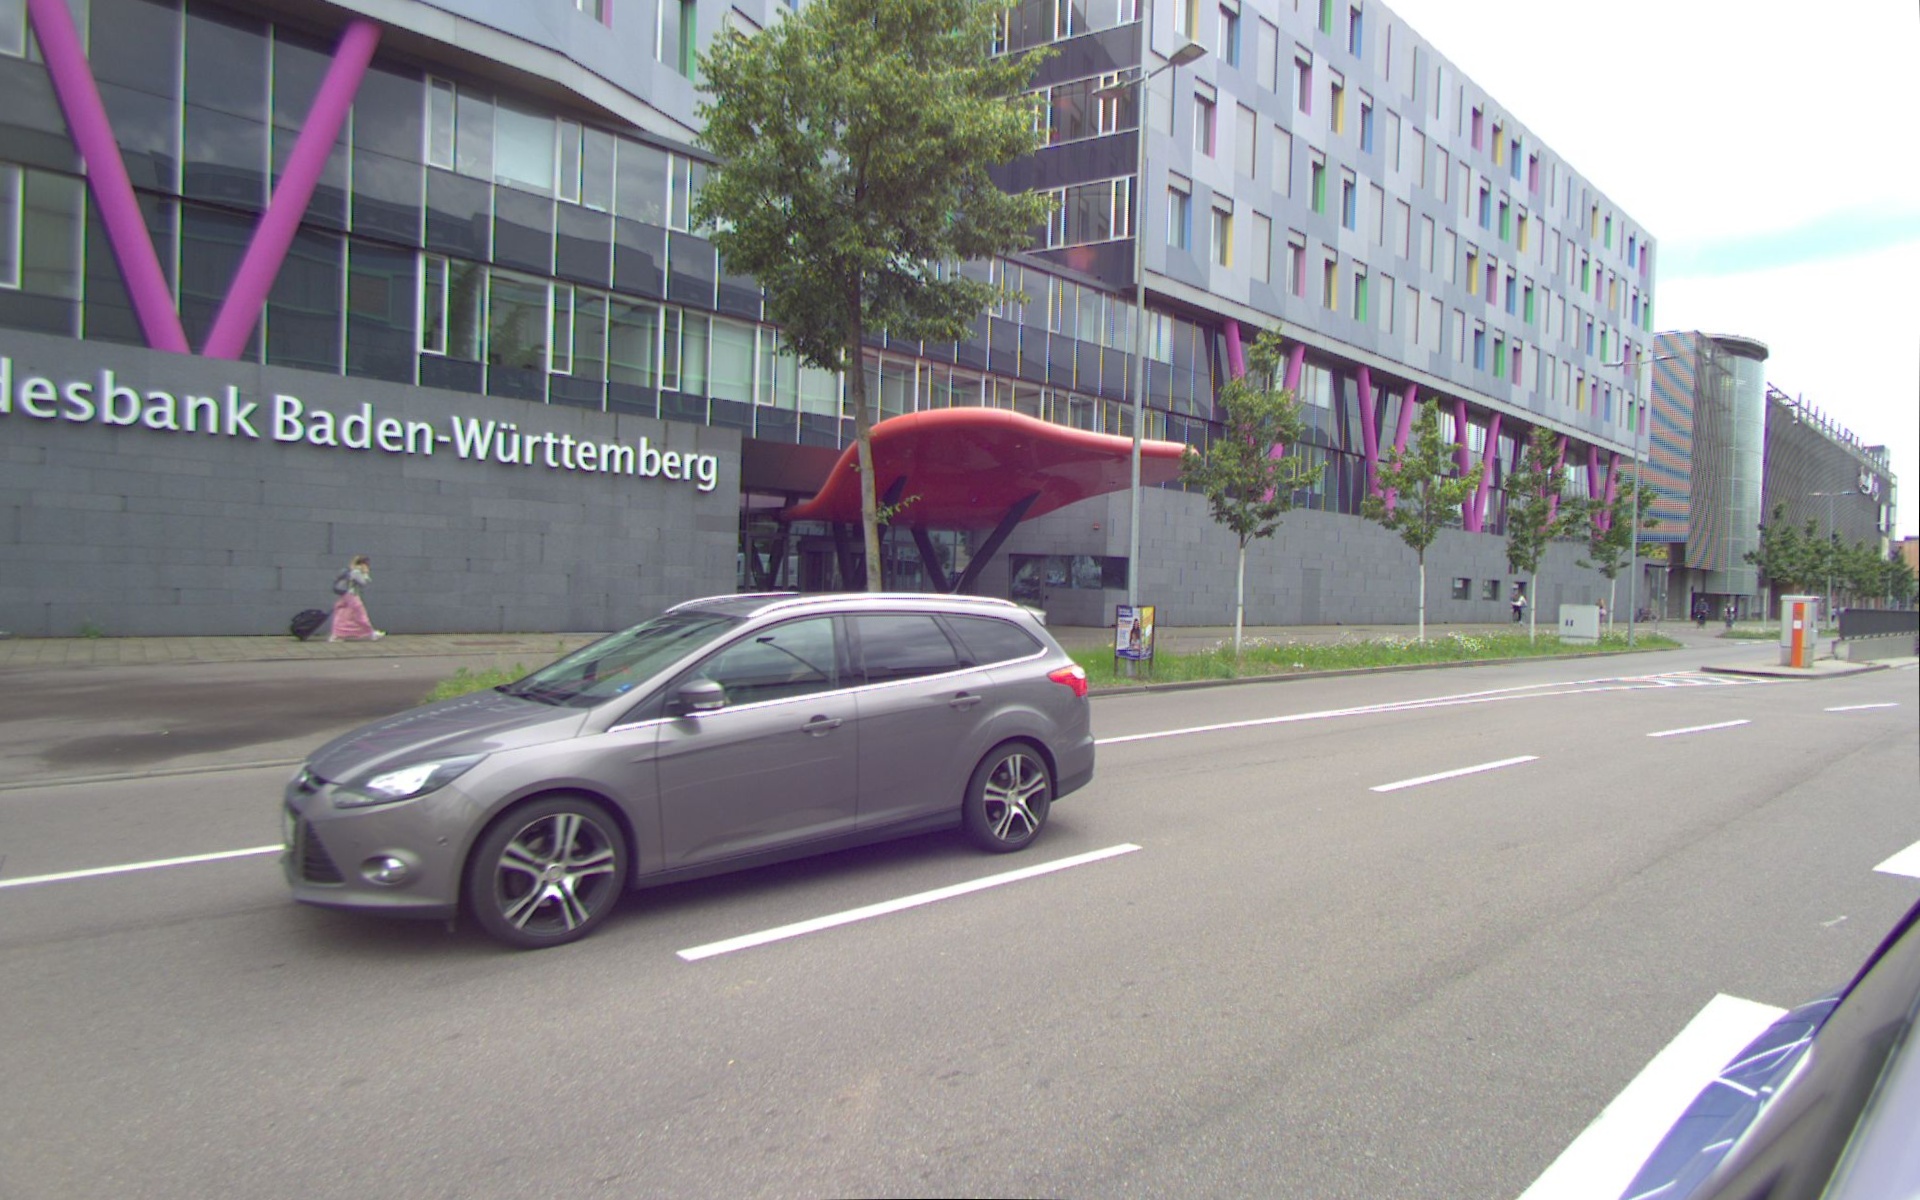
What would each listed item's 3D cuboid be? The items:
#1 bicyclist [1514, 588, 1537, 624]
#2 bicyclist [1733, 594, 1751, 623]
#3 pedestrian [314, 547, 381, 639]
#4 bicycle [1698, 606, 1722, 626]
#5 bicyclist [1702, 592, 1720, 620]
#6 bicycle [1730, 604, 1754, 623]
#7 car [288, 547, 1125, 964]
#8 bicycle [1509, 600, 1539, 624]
[{"bbox_3d":[29.675,0.311,53.119,0.958,1.809,0.771,2,1,-44],"label":"bicyclist"},{"bbox_3d":[50.494,0.528,65.353,0.692,1.825,0.783,2,-1,-41],"label":"bicyclist"},{"bbox_3d":[-11.013,-0.122,18.201,0.898,1.602,0.786,1,1,-40],"label":"pedestrian"},{"bbox_3d":[49.876,1.049,67.292,2.303,1.173,0.800,6,-4,-42],"label":"bicycle"},{"bbox_3d":[50.042,0.384,67.429,0.692,1.826,0.783,6,-4,-41],"label":"bicyclist"},{"bbox_3d":[50.518,0.880,65.382,2.304,1.173,0.800,2,-1,-42],"label":"bicycle"},{"bbox_3d":[-1.172,0.590,5.685,4.190,1.518,1.752,2,0,-38],"label":"car"},{"bbox_3d":[29.545,0.624,53.002,0.783,1.209,2.184,2,1,45],"label":"bicycle"}]
